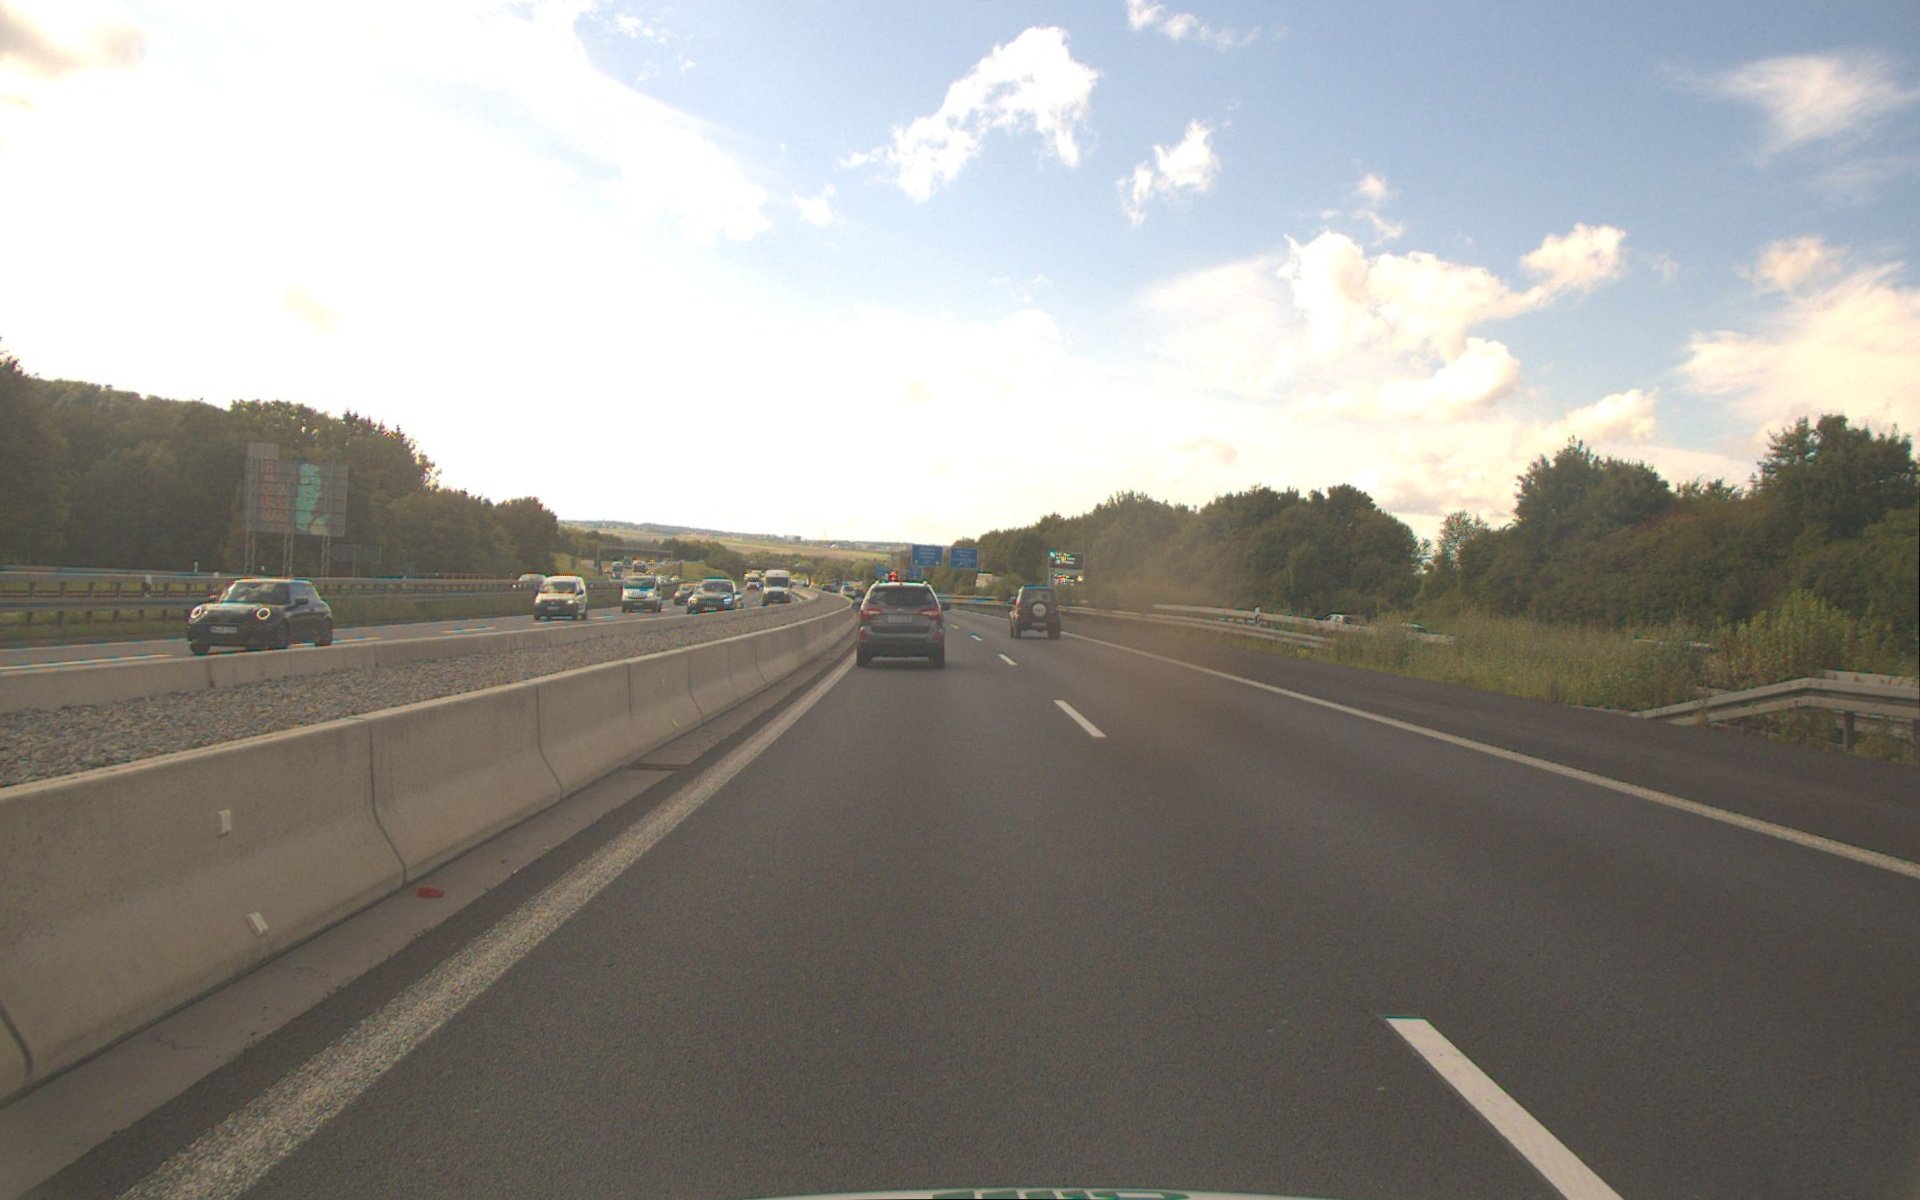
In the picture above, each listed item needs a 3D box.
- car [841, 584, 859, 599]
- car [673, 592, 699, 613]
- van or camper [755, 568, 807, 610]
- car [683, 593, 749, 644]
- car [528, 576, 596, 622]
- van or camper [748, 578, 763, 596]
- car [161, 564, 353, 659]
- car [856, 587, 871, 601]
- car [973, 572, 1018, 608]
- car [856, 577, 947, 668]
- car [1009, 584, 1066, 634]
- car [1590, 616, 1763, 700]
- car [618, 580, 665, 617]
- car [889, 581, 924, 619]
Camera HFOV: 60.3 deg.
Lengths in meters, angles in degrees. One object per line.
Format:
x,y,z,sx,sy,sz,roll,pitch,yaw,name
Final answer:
-13.862,-1.006,207.717,1.956,1.713,3.992,2,-1,-8,car
-19.927,0.176,120.273,1.752,1.442,4.986,1,0,-9,car
-13.291,-0.831,123.184,3.268,2.967,7.463,1,0,-2,van or camper
-9.991,0.712,68.075,1.953,1.953,5.148,2,0,-1,car
-16.661,-0.054,69.421,1.954,1.846,4.238,1,0,-3,car
-31.692,-2.030,256.721,1.948,2.670,6.856,1,0,-5,van or camper
-13.852,0.211,32.884,1.953,1.721,4.372,1,0,-1,car
-14.752,-0.927,252.789,1.957,1.963,3.991,2,-1,-9,car
4.560,-1.237,215.589,4.636,4.341,11.390,1,-1,-5,car
-1.267,0.478,35.539,1.781,1.766,5.184,1,-1,-2,car
2.639,0.284,56.886,1.555,1.625,4.093,1,0,-3,car
15.084,1.174,35.065,1.748,1.599,4.022,2,0,-3,car
-17.467,-0.104,90.953,1.876,1.939,5.282,0,0,-4,car
-3.170,0.010,98.428,1.989,2.189,3.999,1,0,-1,car
